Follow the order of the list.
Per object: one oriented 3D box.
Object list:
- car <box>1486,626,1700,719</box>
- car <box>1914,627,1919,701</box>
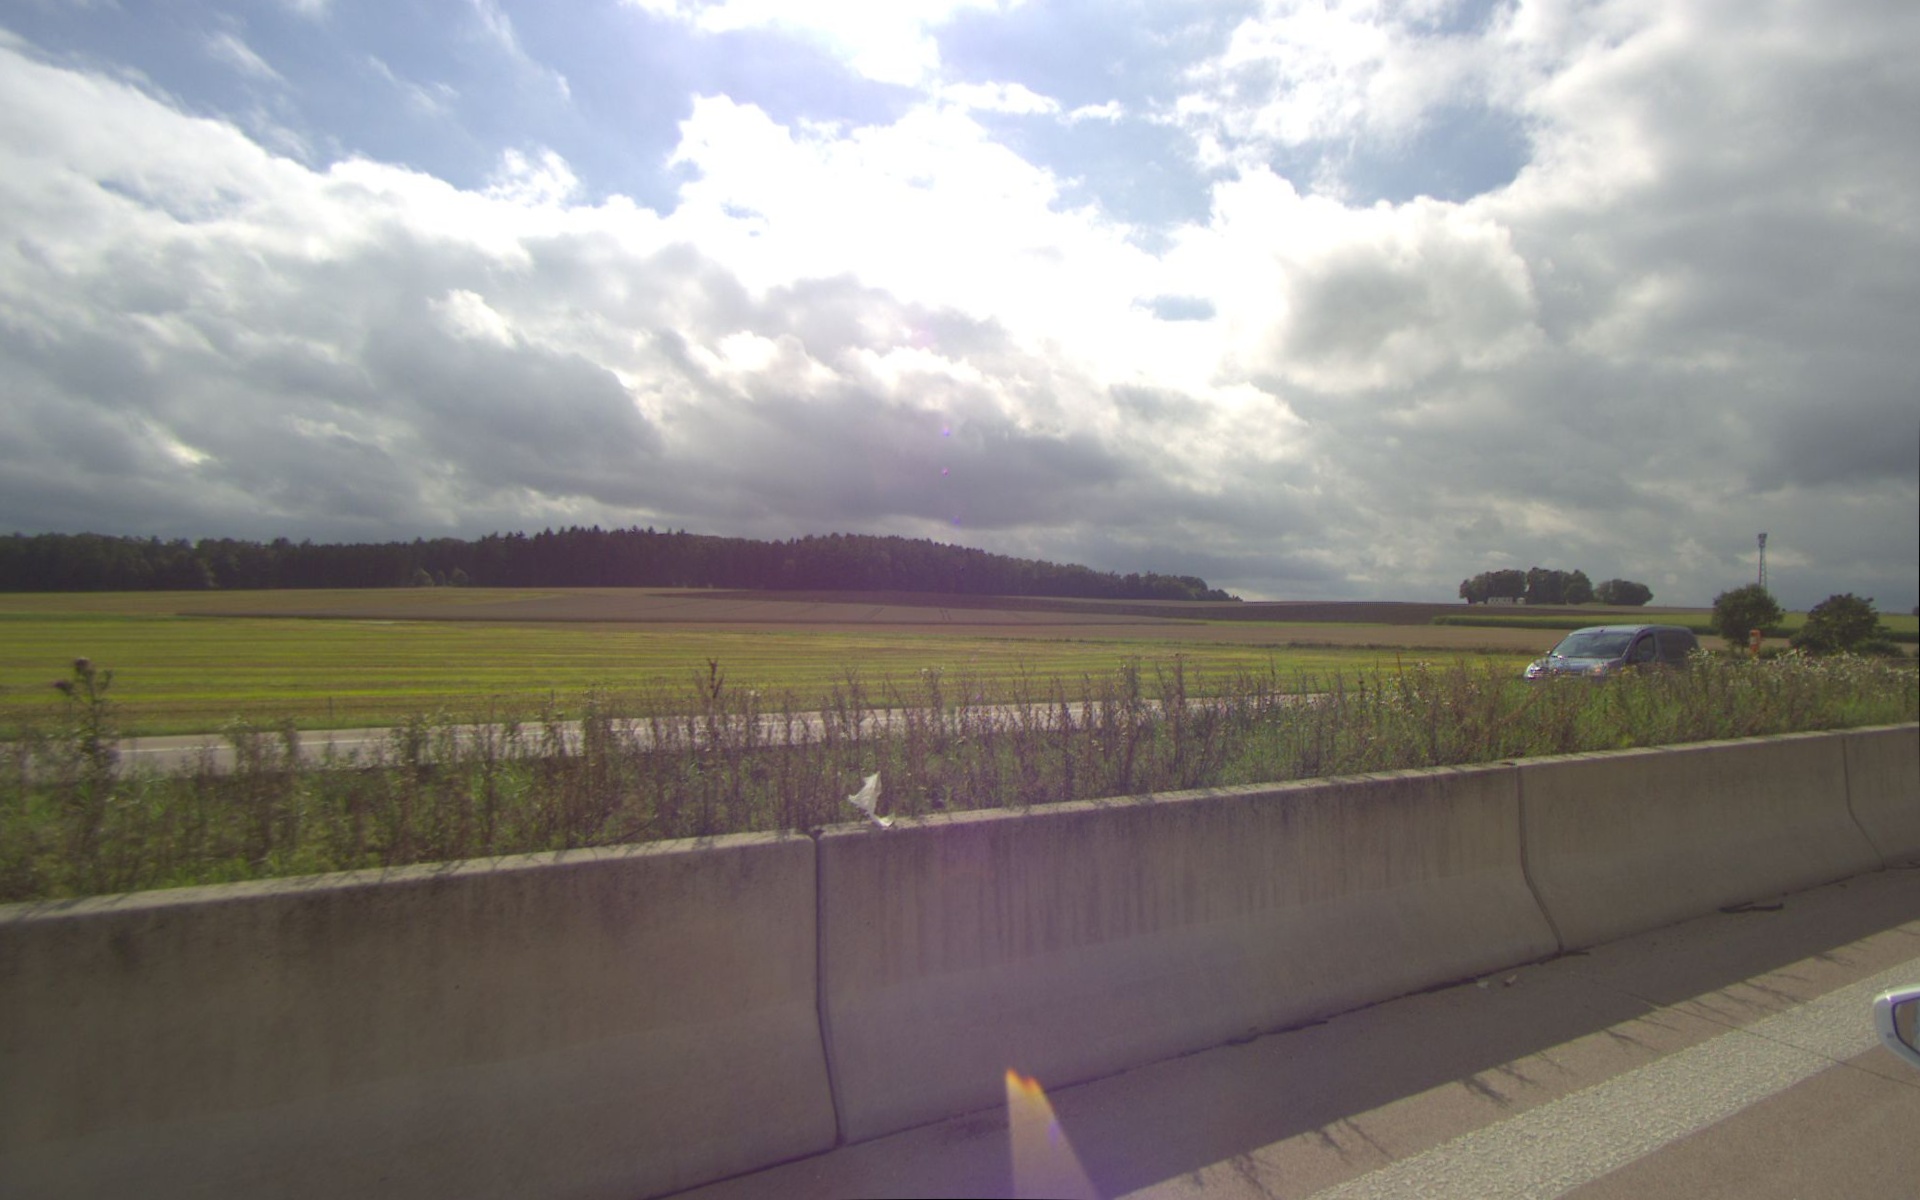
[{"bbox_3d":[12.999,1.422,20.591,4.205,1.721,1.984,1,-2,-30],"label":"car"},{"bbox_3d":[24.787,1.510,23.792,4.544,1.721,1.984,1,-2,-30],"label":"car"}]
